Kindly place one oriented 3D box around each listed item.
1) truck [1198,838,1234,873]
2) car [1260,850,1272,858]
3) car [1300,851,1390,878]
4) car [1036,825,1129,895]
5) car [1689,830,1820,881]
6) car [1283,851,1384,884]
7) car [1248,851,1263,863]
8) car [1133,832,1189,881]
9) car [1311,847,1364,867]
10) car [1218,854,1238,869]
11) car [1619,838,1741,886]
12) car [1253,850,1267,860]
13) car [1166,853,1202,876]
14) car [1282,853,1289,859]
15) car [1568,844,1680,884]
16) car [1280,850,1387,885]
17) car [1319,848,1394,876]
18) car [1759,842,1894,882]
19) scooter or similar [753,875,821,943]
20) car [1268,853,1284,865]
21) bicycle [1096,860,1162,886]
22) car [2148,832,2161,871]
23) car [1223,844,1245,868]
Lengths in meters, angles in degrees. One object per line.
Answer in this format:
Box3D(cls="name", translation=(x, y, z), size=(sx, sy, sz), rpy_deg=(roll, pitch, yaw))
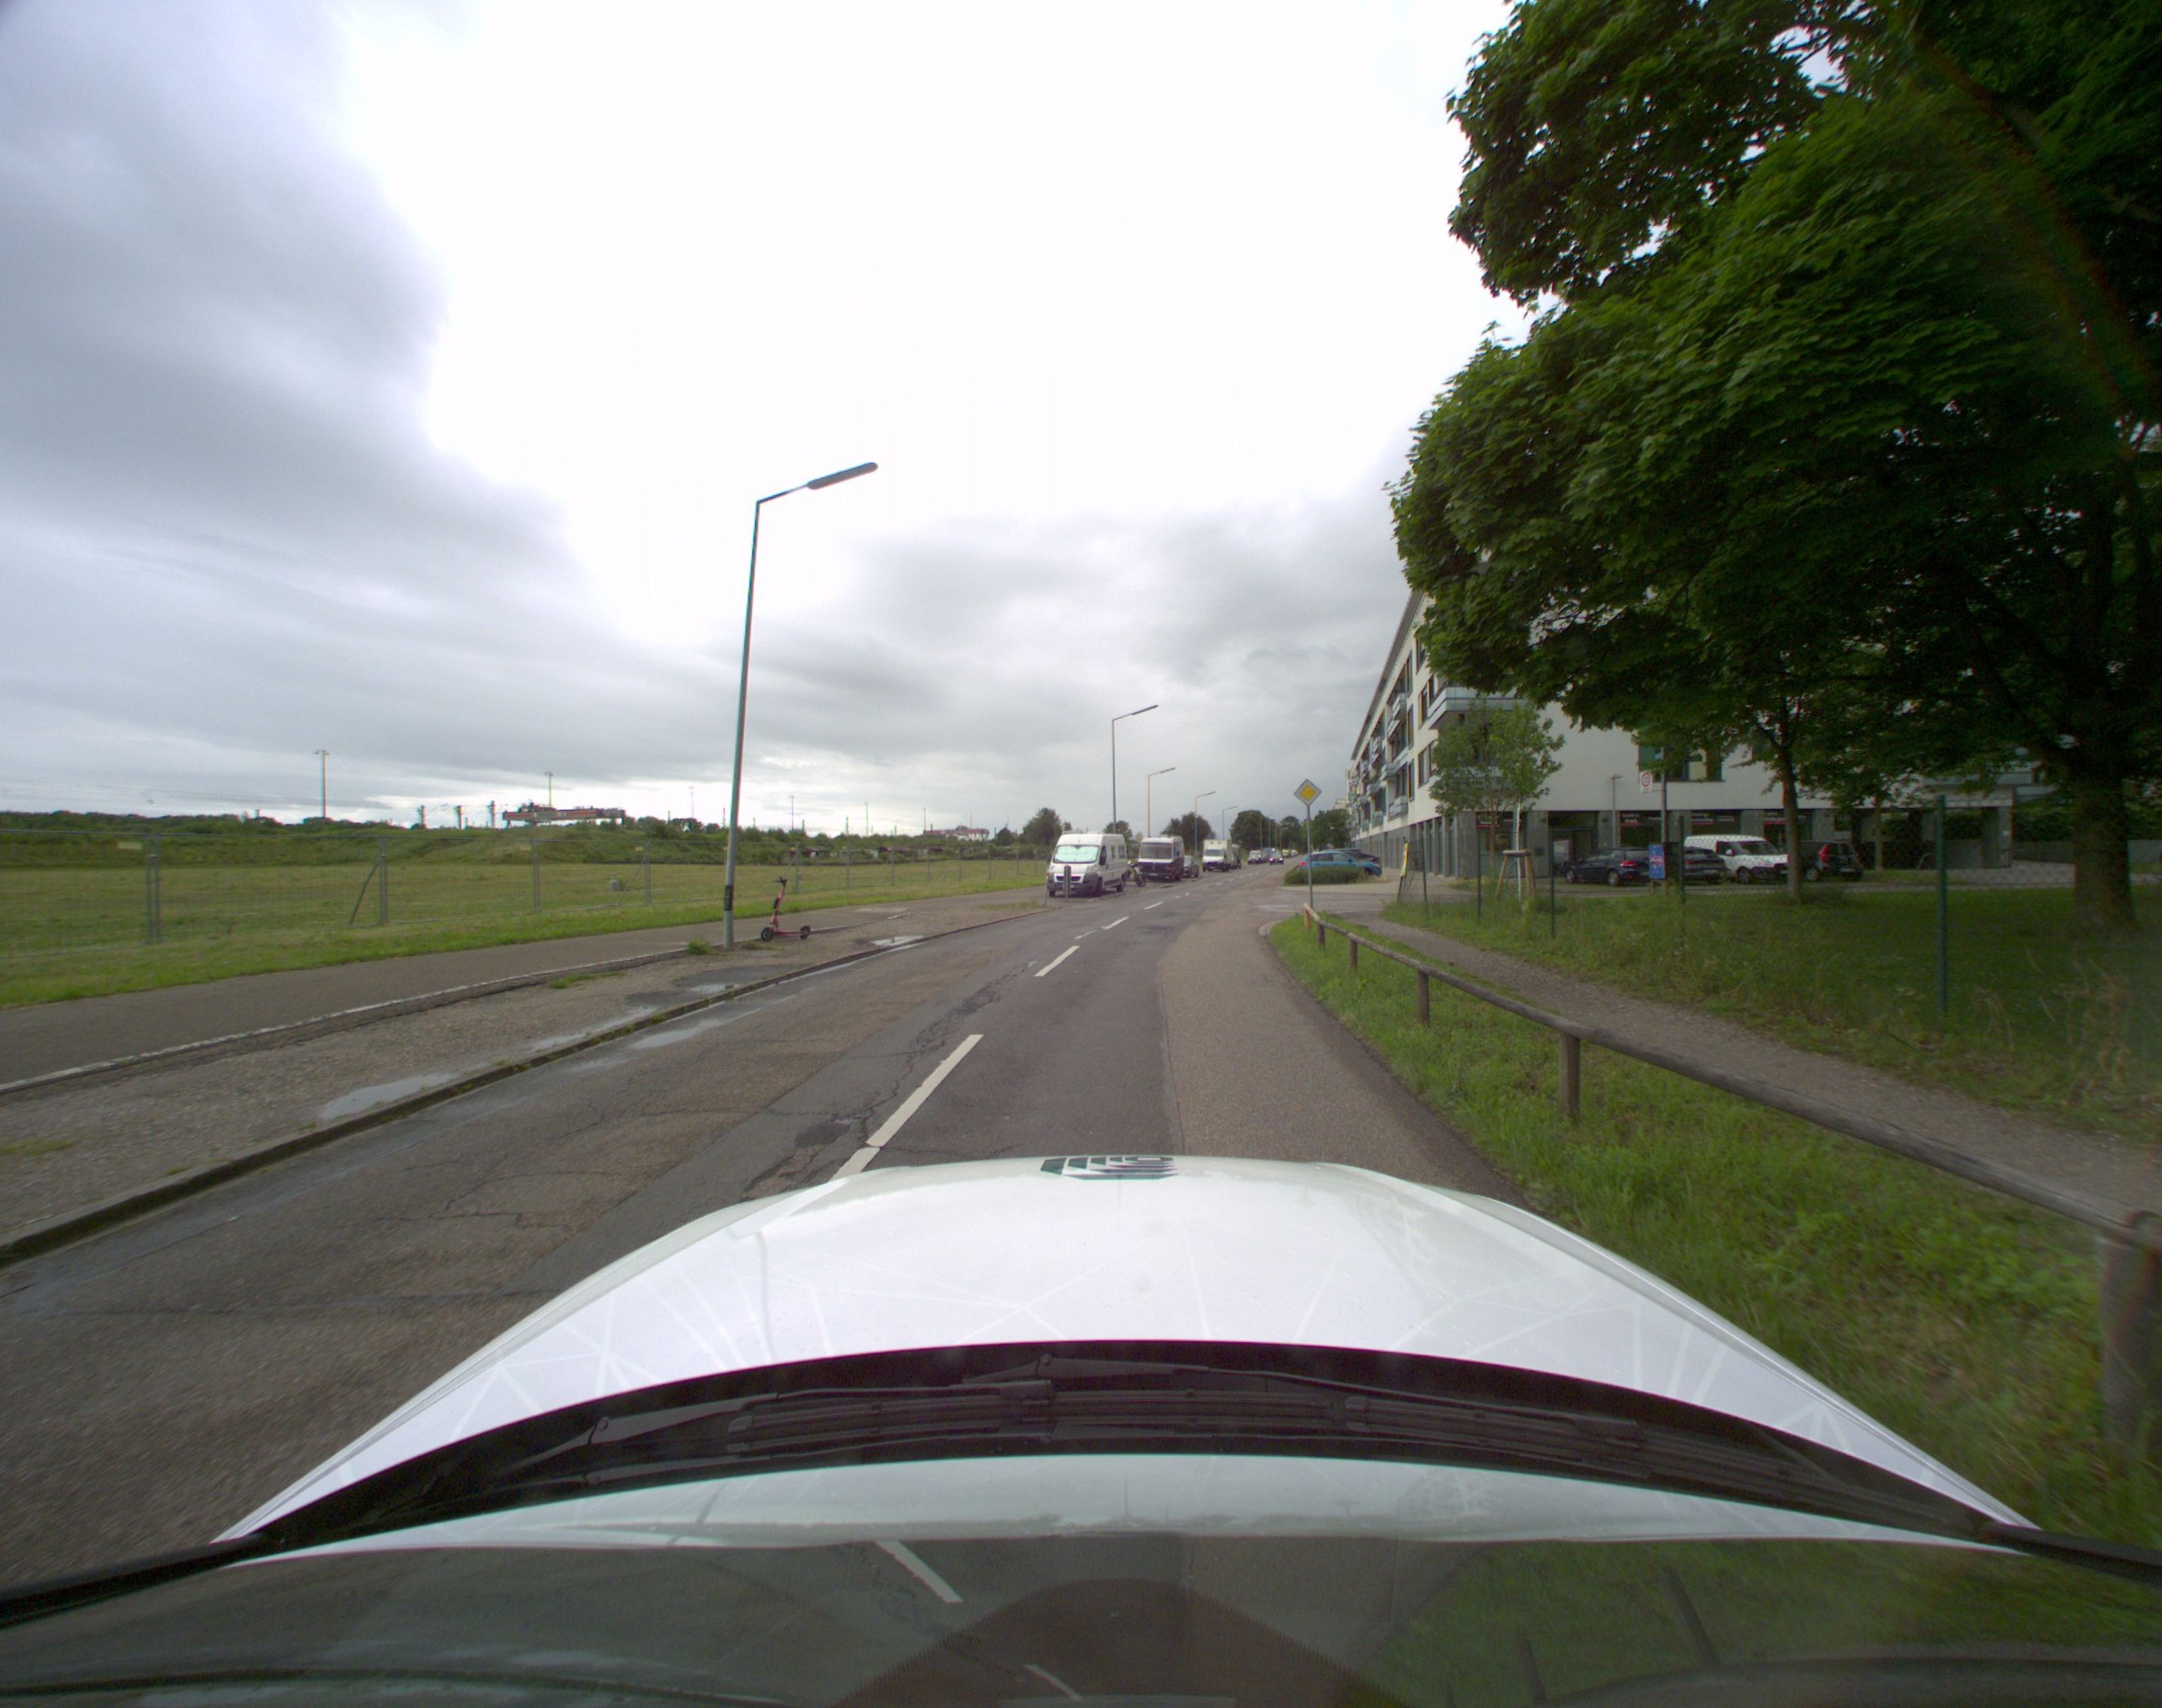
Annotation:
Box3D(cls="truck", translation=(12.626, 0.096, 75.812), size=(2.443, 3.060, 8.196), rpy_deg=(-1, 0, 15))
Box3D(cls="car", translation=(33.368, 0.009, 146.654), size=(1.741, 1.525, 4.018), rpy_deg=(-1, 0, 17))
Box3D(cls="car", translation=(14.956, 0.588, 46.368), size=(4.825, 1.500, 1.850), rpy_deg=(0, 0, 15))
Box3D(cls="car", translation=(0.227, 0.214, 33.096), size=(2.272, 2.555, 6.434), rpy_deg=(-1, 0, 14))
Box3D(cls="car", translation=(25.582, 0.054, 31.121), size=(1.790, 1.830, 4.001), rpy_deg=(0, 0, 2))
Box3D(cls="car", translation=(12.834, 0.663, 41.658), size=(4.825, 1.663, 1.850), rpy_deg=(0, 0, 15))
Box3D(cls="car", translation=(25.518, 0.410, 119.020), size=(1.636, 1.663, 3.592), rpy_deg=(0, 0, 18))
Box3D(cls="car", translation=(4.923, 0.123, 49.227), size=(2.283, 2.734, 6.118), rpy_deg=(0, 0, 16))
Box3D(cls="car", translation=(22.266, 0.244, 70.730), size=(4.295, 1.720, 2.008), rpy_deg=(-1, 0, 14))
Box3D(cls="car", translation=(15.425, 0.797, 85.323), size=(1.742, 1.525, 4.017), rpy_deg=(-1, 0, 16))
Box3D(cls="car", translation=(22.967, 0.294, 31.419), size=(1.847, 1.699, 3.956), rpy_deg=(0, 0, 1))
Box3D(cls="car", translation=(27.753, 0.189, 126.087), size=(1.741, 1.525, 4.018), rpy_deg=(-1, 0, 17))
Box3D(cls="car", translation=(7.149, 0.727, 56.363), size=(1.765, 1.505, 4.018), rpy_deg=(-1, 0, 17))
Box3D(cls="car", translation=(59.694, 0.543, 238.078), size=(1.741, 1.525, 4.018), rpy_deg=(-1, 0, 17))
Box3D(cls="car", translation=(20.717, 0.355, 31.260), size=(1.817, 1.431, 3.772), rpy_deg=(0, 0, 1))
Box3D(cls="car", translation=(12.078, 0.599, 39.209), size=(4.825, 1.616, 1.850), rpy_deg=(0, 0, 15))
Box3D(cls="car", translation=(17.086, 0.488, 50.765), size=(4.295, 1.720, 2.008), rpy_deg=(-1, 0, 14))
Box3D(cls="car", translation=(28.603, 0.282, 31.417), size=(1.817, 1.431, 3.772), rpy_deg=(0, 0, 1))
Box3D(cls="scooter or similar", translation=(-5.599, 1.012, 15.623), size=(0.606, 1.183, 1.702), rpy_deg=(2, 0, 2))
Box3D(cls="car", translation=(28.256, 0.645, 117.828), size=(2.027, 1.663, 4.125), rpy_deg=(0, 0, 17))
Box3D(cls="bicycle", translation=(2.420, 0.940, 40.968), size=(3.097, 1.199, 1.370), rpy_deg=(0, 0, 15))
Box3D(cls="car", translation=(45.176, -0.102, 31.829), size=(1.741, 1.574, 3.999), rpy_deg=(-1, 0, 0))
Box3D(cls="car", translation=(17.385, 0.210, 92.630), size=(1.990, 2.574, 4.806), rpy_deg=(-1, 0, 16))
